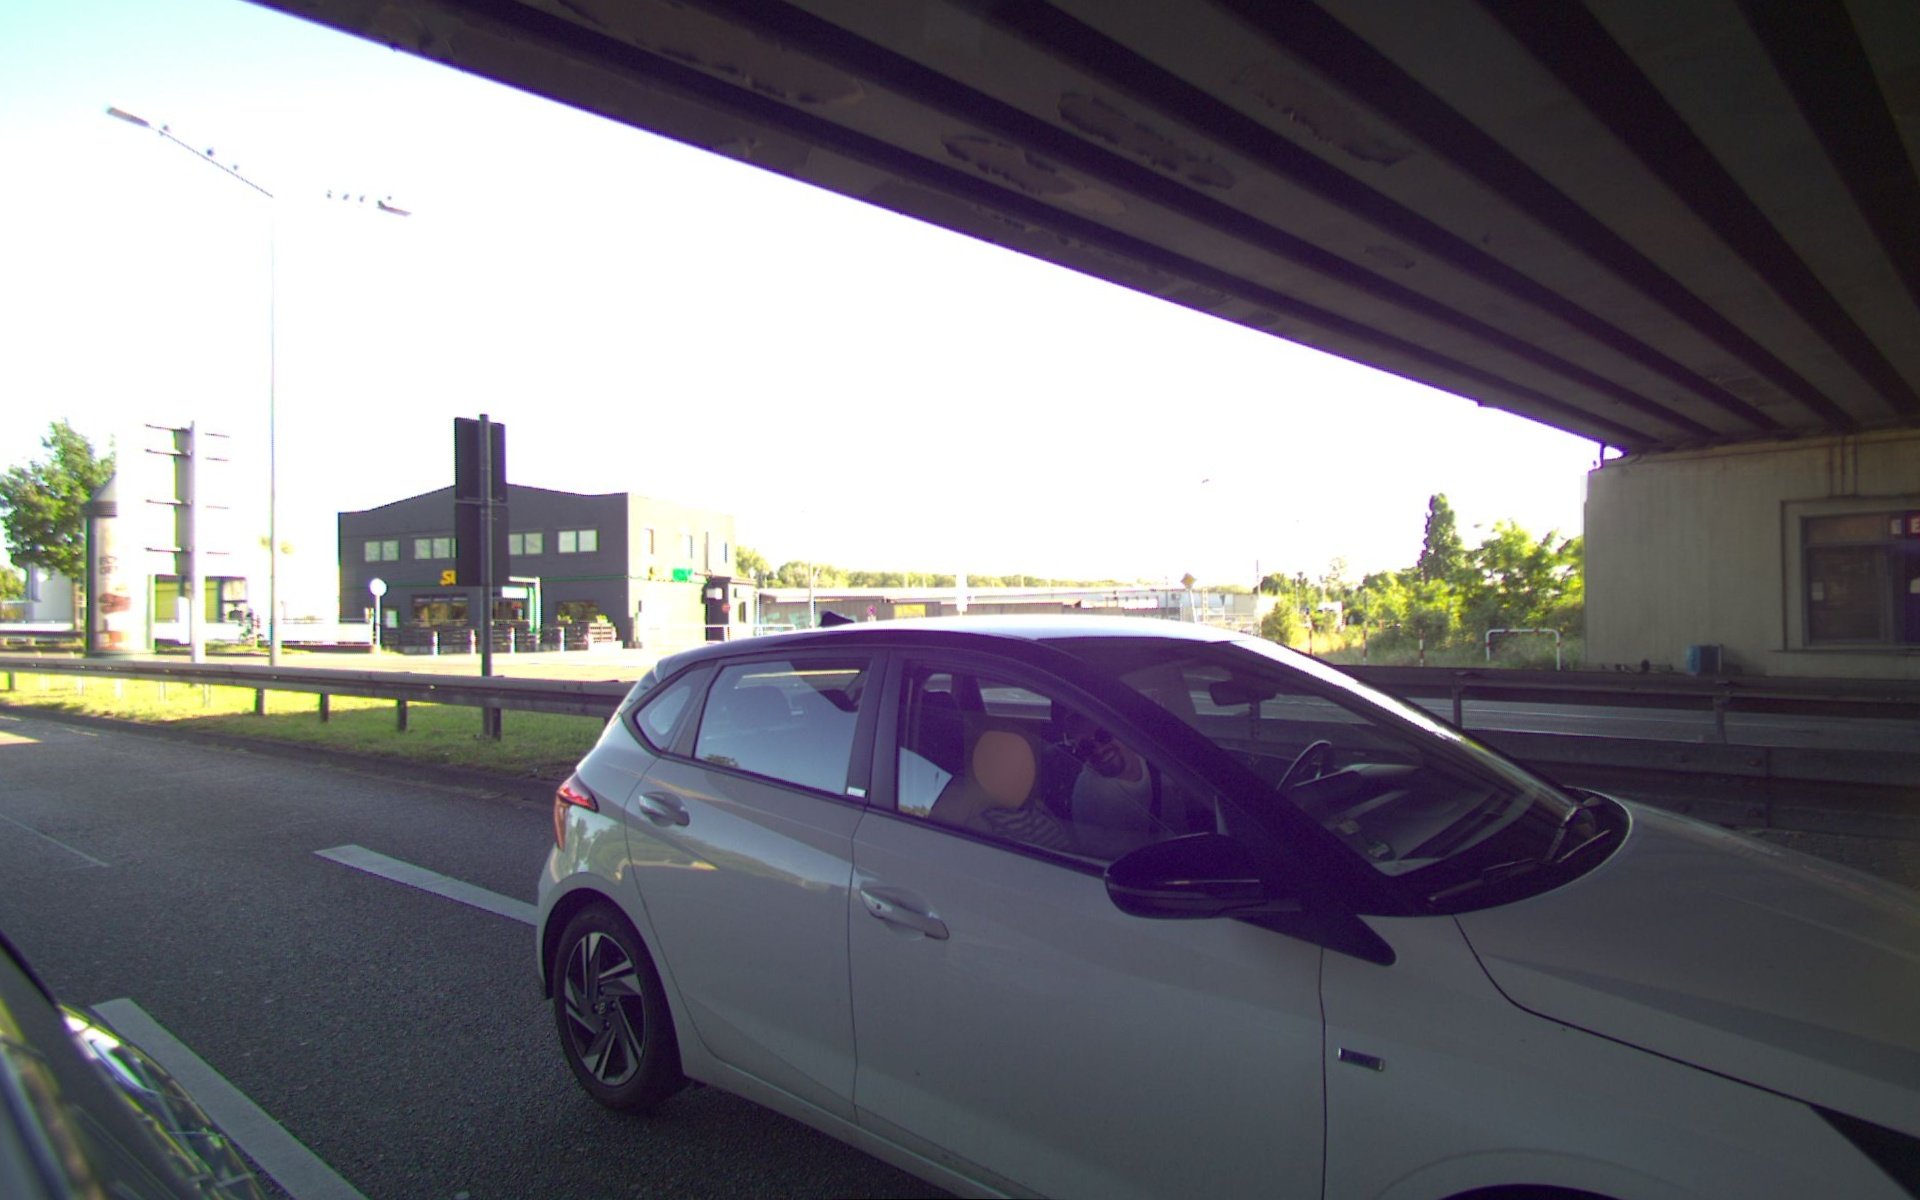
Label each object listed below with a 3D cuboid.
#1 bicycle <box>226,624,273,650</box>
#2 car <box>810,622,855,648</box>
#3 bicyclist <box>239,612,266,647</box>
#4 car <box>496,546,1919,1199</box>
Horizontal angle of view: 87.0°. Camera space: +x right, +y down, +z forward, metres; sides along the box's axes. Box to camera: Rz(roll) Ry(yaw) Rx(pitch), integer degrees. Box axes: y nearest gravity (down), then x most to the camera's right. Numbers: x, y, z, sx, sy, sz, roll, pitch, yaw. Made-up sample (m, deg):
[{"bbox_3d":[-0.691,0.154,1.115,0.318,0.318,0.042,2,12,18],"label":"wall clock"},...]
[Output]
[{"bbox_3d":[-29.475,1.527,41.969,1.733,1.031,0.591,-1,0,13],"label":"bicycle"},{"bbox_3d":[-6.868,1.932,54.957,1.806,1.291,4.180,1,-3,1],"label":"car"},{"bbox_3d":[-29.338,1.224,41.959,0.701,1.438,0.591,-1,0,13],"label":"bicyclist"},{"bbox_3d":[0.564,0.714,2.665,3.987,1.491,1.716,-1,-1,40],"label":"car"}]
